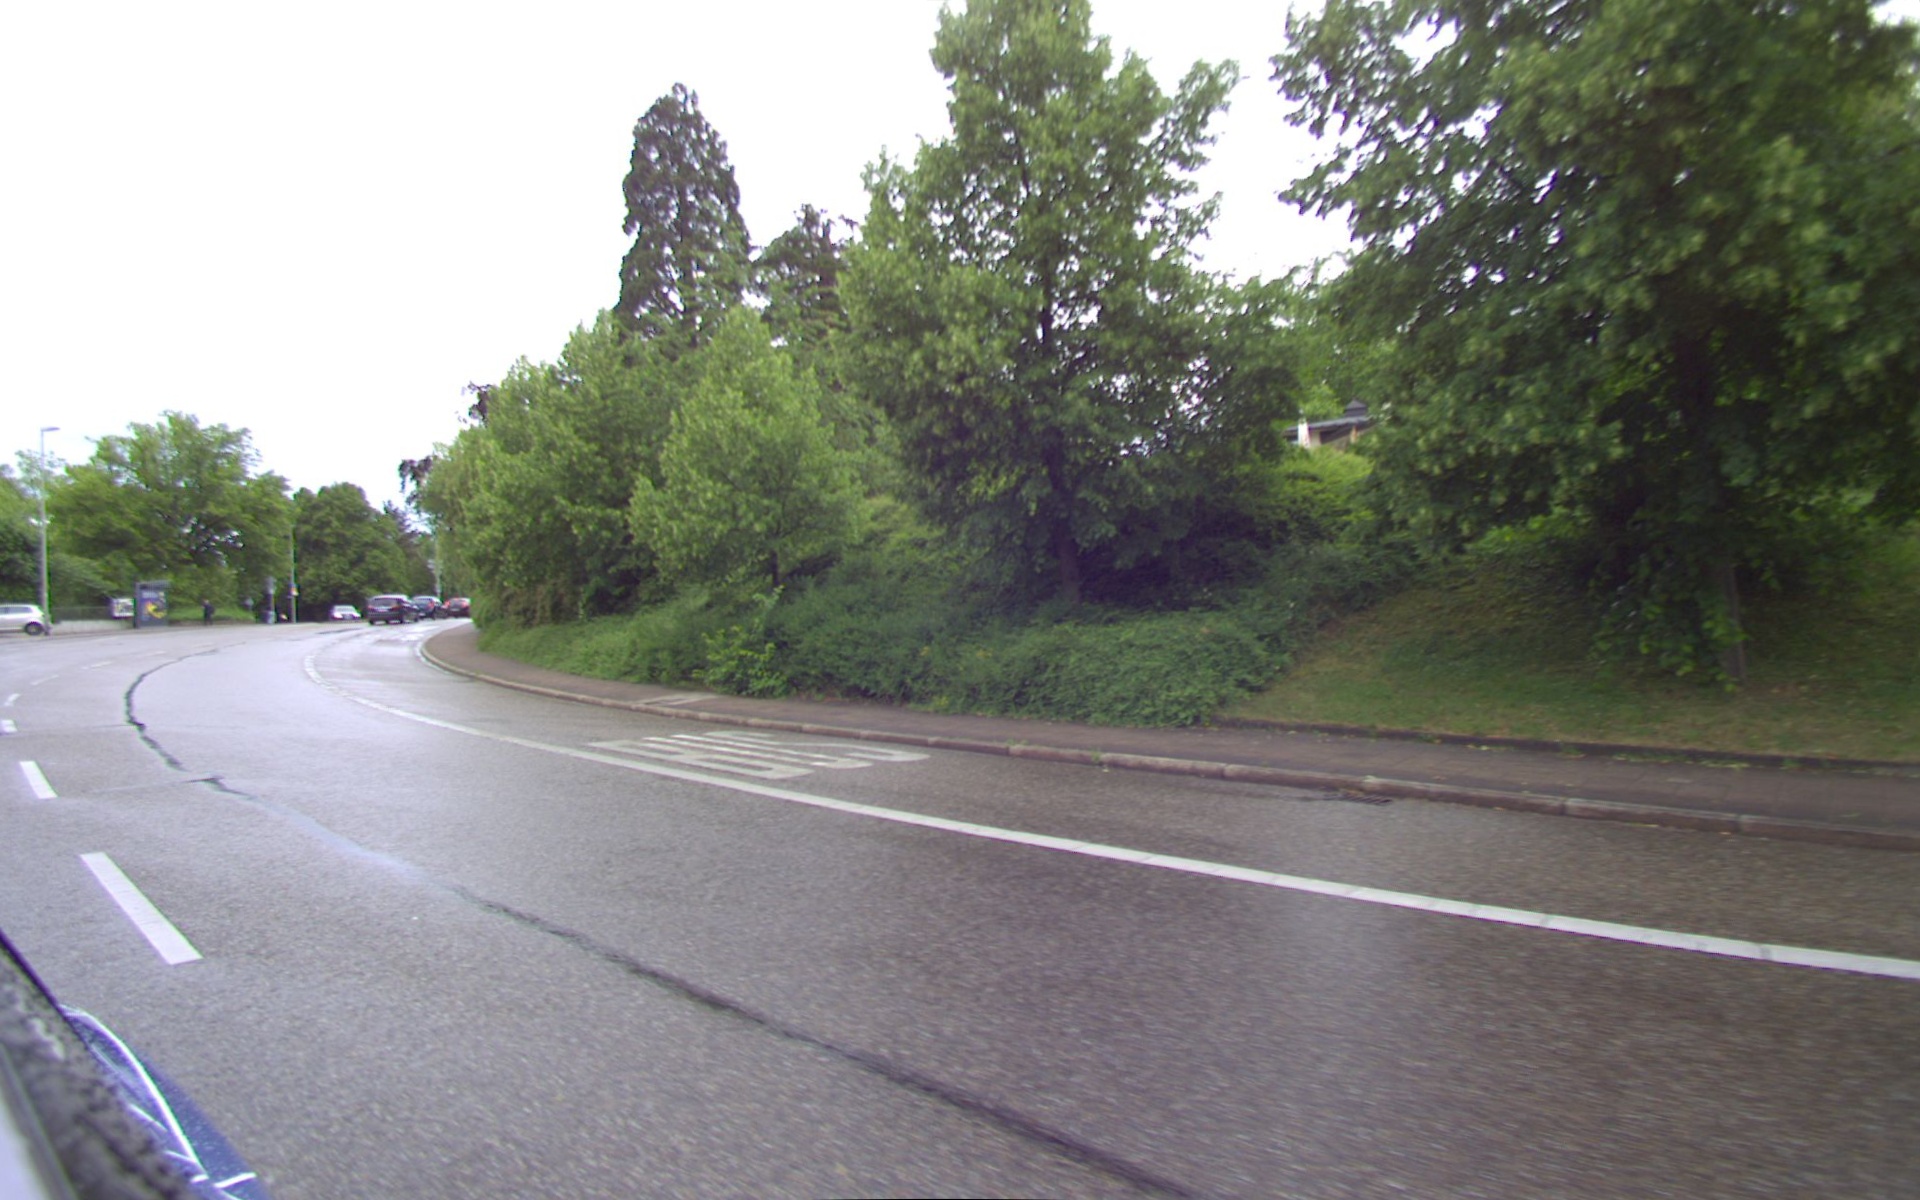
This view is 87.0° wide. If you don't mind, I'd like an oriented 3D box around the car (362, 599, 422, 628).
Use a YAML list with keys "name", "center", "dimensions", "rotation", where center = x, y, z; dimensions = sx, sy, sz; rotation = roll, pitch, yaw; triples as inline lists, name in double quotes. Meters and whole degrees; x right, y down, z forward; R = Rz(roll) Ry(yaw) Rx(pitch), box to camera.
- name: "car"
  center: [-32.883, 0.741, 58.699]
  dimensions: [1.786, 1.588, 4.698]
  rotation: [-1, 0, -14]

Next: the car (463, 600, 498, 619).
- name: "car"
  center: [-38.231, 0.779, 80.802]
  dimensions: [1.803, 1.412, 4.835]
  rotation: [-1, 0, -17]

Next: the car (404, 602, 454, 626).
- name: "car"
  center: [-34.744, 0.946, 66.284]
  dimensions: [1.699, 1.475, 4.387]
  rotation: [-1, -1, -11]

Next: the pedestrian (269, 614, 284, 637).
- name: "pedestrian"
  center: [-51.604, 1.921, 76.424]
  dimensions: [0.713, 1.746, 0.822]
  rotation: [-1, -1, -19]

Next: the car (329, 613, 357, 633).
- name: "car"
  center: [-50.443, 1.882, 82.763]
  dimensions: [1.832, 1.425, 4.397]
  rotation: [-2, -2, -33]

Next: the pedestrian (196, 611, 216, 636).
- name: "pedestrian"
  center: [-50.294, 1.557, 67.542]
  dimensions: [0.912, 1.667, 1.101]
  rotation: [-1, -1, -29]

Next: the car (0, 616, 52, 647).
- name: "car"
  center: [-48.841, 1.603, 51.474]
  dimensions: [3.809, 1.578, 1.730]
  rotation: [1, -3, -40]
